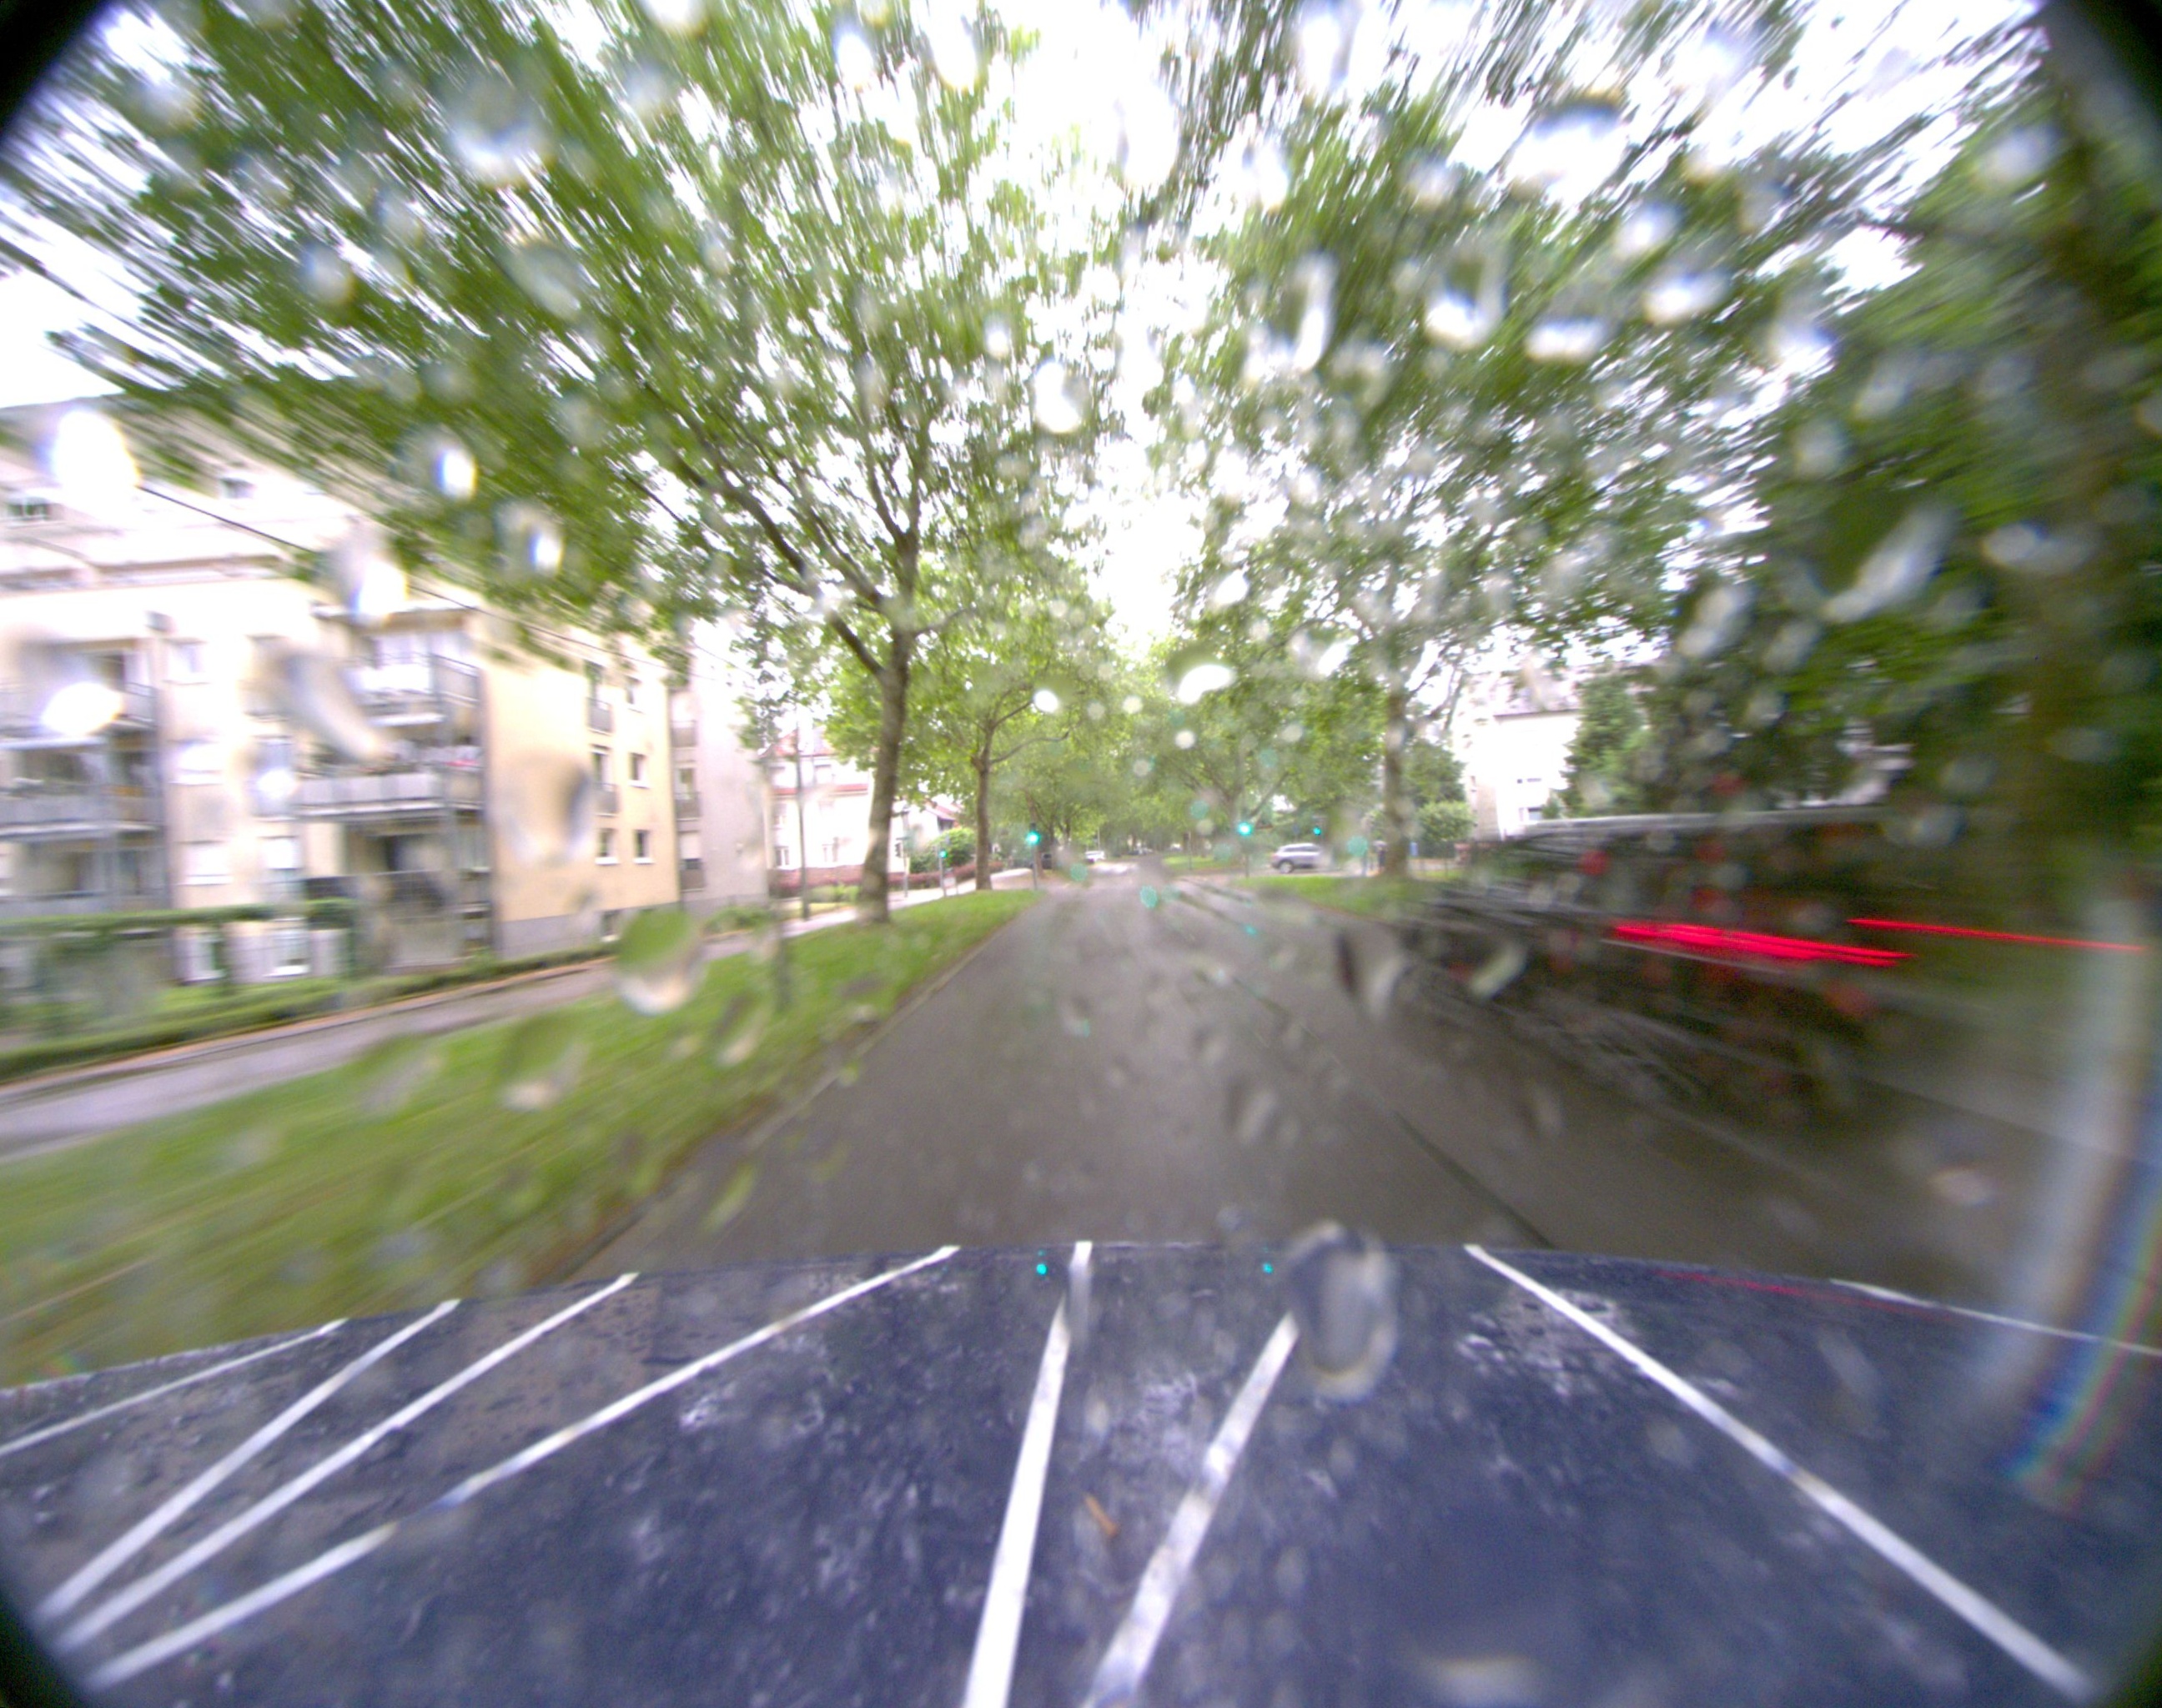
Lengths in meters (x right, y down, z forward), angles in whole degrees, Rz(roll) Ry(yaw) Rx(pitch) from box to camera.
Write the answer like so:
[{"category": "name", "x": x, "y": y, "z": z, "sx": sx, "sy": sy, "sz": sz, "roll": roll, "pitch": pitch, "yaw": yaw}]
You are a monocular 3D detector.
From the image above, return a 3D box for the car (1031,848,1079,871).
[{"category": "car", "x": -2.338, "y": 0.509, "z": 69.625, "sx": 4.262, "sy": 1.845, "sz": 1.892, "roll": -3, "pitch": 1, "yaw": -1}]
